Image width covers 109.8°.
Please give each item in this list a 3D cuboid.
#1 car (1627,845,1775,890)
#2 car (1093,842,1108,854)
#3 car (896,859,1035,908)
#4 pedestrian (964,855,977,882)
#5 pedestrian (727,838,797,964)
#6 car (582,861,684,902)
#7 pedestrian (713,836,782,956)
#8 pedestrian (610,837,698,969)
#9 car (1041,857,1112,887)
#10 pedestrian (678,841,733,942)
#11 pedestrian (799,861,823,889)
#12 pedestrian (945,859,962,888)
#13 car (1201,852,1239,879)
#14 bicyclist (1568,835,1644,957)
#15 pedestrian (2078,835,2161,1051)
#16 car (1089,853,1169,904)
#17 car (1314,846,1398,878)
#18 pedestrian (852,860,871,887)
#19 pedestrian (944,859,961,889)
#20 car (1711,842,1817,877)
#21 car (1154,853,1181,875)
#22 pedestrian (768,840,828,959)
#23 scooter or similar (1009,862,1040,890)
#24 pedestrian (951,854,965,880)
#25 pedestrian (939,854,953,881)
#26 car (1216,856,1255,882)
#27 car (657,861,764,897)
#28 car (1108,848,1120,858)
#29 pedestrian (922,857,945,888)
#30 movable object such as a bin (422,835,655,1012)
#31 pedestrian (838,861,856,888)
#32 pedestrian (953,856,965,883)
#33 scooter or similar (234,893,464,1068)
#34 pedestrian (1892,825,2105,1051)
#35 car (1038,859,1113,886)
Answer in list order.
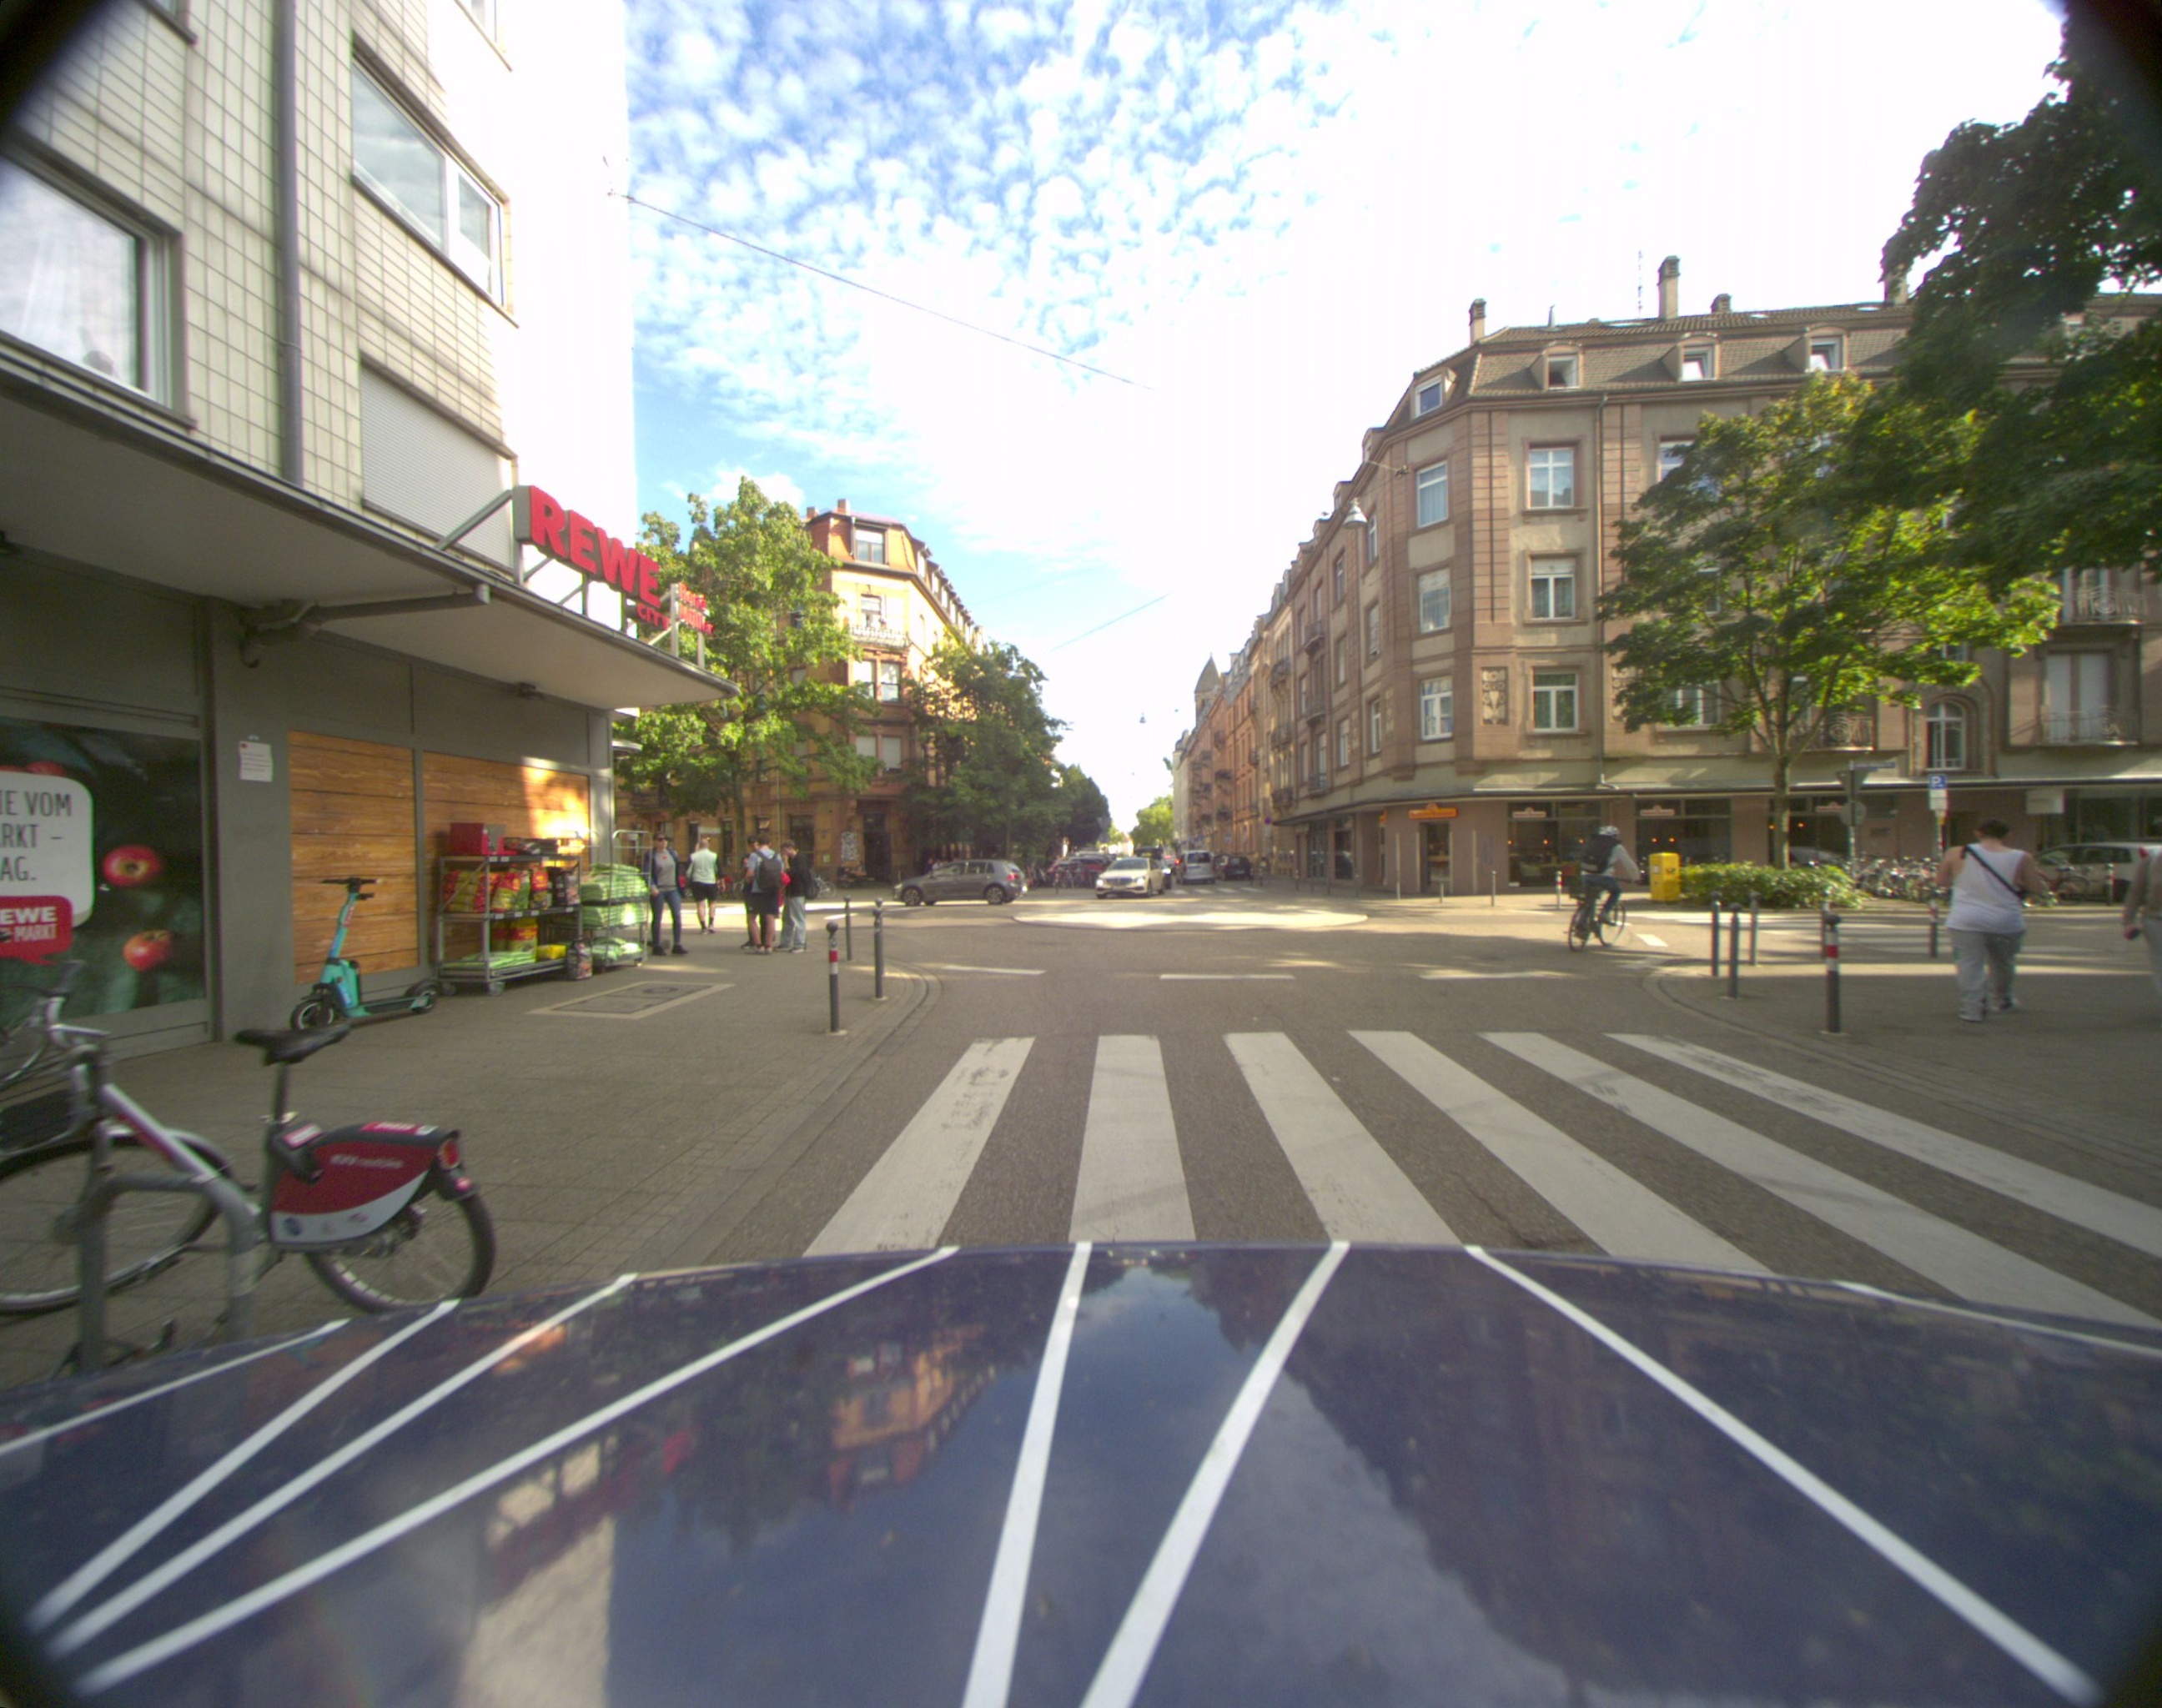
[{"bbox_3d":[22.138,0.459,27.353,1.766,1.421,3.998,-3,0,-6],"label":"car"},{"bbox_3d":[2.884,-0.869,113.085,1.850,1.724,3.999,-3,0,-2],"label":"car"},{"bbox_3d":[-3.615,0.907,24.161,3.994,1.429,1.798,-1,0,8],"label":"car"},{"bbox_3d":[-5.526,0.732,38.001,0.467,1.320,0.620,-1,2,-21],"label":"pedestrian"},{"bbox_3d":[-4.714,0.672,11.229,0.712,1.786,0.634,1,0,36],"label":"pedestrian"},{"bbox_3d":[-21.318,1.278,36.278,1.856,1.711,3.715,-3,0,29],"label":"car"},{"bbox_3d":[-5.179,0.637,11.833,0.654,1.786,0.660,2,0,16],"label":"pedestrian"},{"bbox_3d":[-5.907,0.649,10.576,0.765,1.743,0.930,-1,0,-11],"label":"pedestrian"},{"bbox_3d":[-0.239,0.979,41.888,3.591,1.606,1.511,1,0,-20],"label":"car"},{"bbox_3d":[-7.123,0.675,14.390,0.888,1.824,1.044,0,1,-28],"label":"pedestrian"},{"bbox_3d":[-12.980,0.993,36.550,0.628,1.278,0.770,-1,3,26],"label":"pedestrian"},{"bbox_3d":[-5.848,0.893,34.904,0.729,1.307,0.520,-3,0,-9],"label":"pedestrian"},{"bbox_3d":[9.029,0.724,49.731,1.861,1.575,4.399,-3,0,4],"label":"car"},{"bbox_3d":[7.602,0.572,10.994,1.115,1.668,0.701,-1,1,-44],"label":"bicyclist"},{"bbox_3d":[8.209,0.640,5.657,0.810,1.568,0.614,-1,-3,-16],"label":"pedestrian"},{"bbox_3d":[1.865,0.824,28.000,1.941,1.588,4.841,-3,0,15],"label":"car"},{"bbox_3d":[15.727,0.471,43.503,3.999,1.611,1.999,-3,0,-5],"label":"car"},{"bbox_3d":[-10.577,0.929,36.649,0.510,1.252,0.642,1,3,36],"label":"pedestrian"},{"bbox_3d":[-5.813,0.889,34.387,0.729,1.307,0.520,-3,0,-9],"label":"pedestrian"},{"bbox_3d":[33.517,0.276,37.349,3.629,1.557,1.579,-3,0,5],"label":"car"},{"bbox_3d":[6.887,0.789,60.996,1.998,1.625,4.845,-1,0,5],"label":"car"},{"bbox_3d":[-4.411,0.690,11.824,0.716,1.786,0.631,2,0,-32],"label":"pedestrian"},{"bbox_3d":[-2.472,0.948,33.221,1.289,1.203,0.557,-1,-2,29],"label":"scooter or similar"},{"bbox_3d":[-6.071,0.634,37.598,0.549,1.225,0.620,-1,2,-21],"label":"pedestrian"},{"bbox_3d":[-6.667,0.663,37.530,0.549,1.293,0.620,-1,2,-21],"label":"pedestrian"},{"bbox_3d":[9.022,0.832,44.600,1.723,1.360,3.830,-3,0,4],"label":"car"},{"bbox_3d":[-16.364,1.080,33.783,1.564,1.263,4.118,-2,2,26],"label":"car"},{"bbox_3d":[6.395,-0.262,147.836,1.998,1.877,4.002,-3,0,5],"label":"car"},{"bbox_3d":[-6.786,0.846,34.966,0.715,1.371,0.671,0,2,38],"label":"pedestrian"},{"bbox_3d":[-6.003,0.679,8.673,0.781,1.734,2.423,-1,0,3],"label":"movable object such as a bin"},{"bbox_3d":[-11.103,0.966,36.054,0.510,1.218,0.642,1,3,36],"label":"pedestrian"},{"bbox_3d":[-6.147,0.762,38.351,0.467,1.320,0.620,-1,2,-21],"label":"pedestrian"},{"bbox_3d":[-5.863,0.958,6.181,0.633,1.206,1.256,1,0,1],"label":"scooter or similar"},{"bbox_3d":[7.400,0.615,6.200,0.802,1.661,1.024,-1,1,30],"label":"pedestrian"},{"bbox_3d":[-0.271,0.970,39.516,3.592,1.372,1.510,1,0,-22],"label":"car"}]
